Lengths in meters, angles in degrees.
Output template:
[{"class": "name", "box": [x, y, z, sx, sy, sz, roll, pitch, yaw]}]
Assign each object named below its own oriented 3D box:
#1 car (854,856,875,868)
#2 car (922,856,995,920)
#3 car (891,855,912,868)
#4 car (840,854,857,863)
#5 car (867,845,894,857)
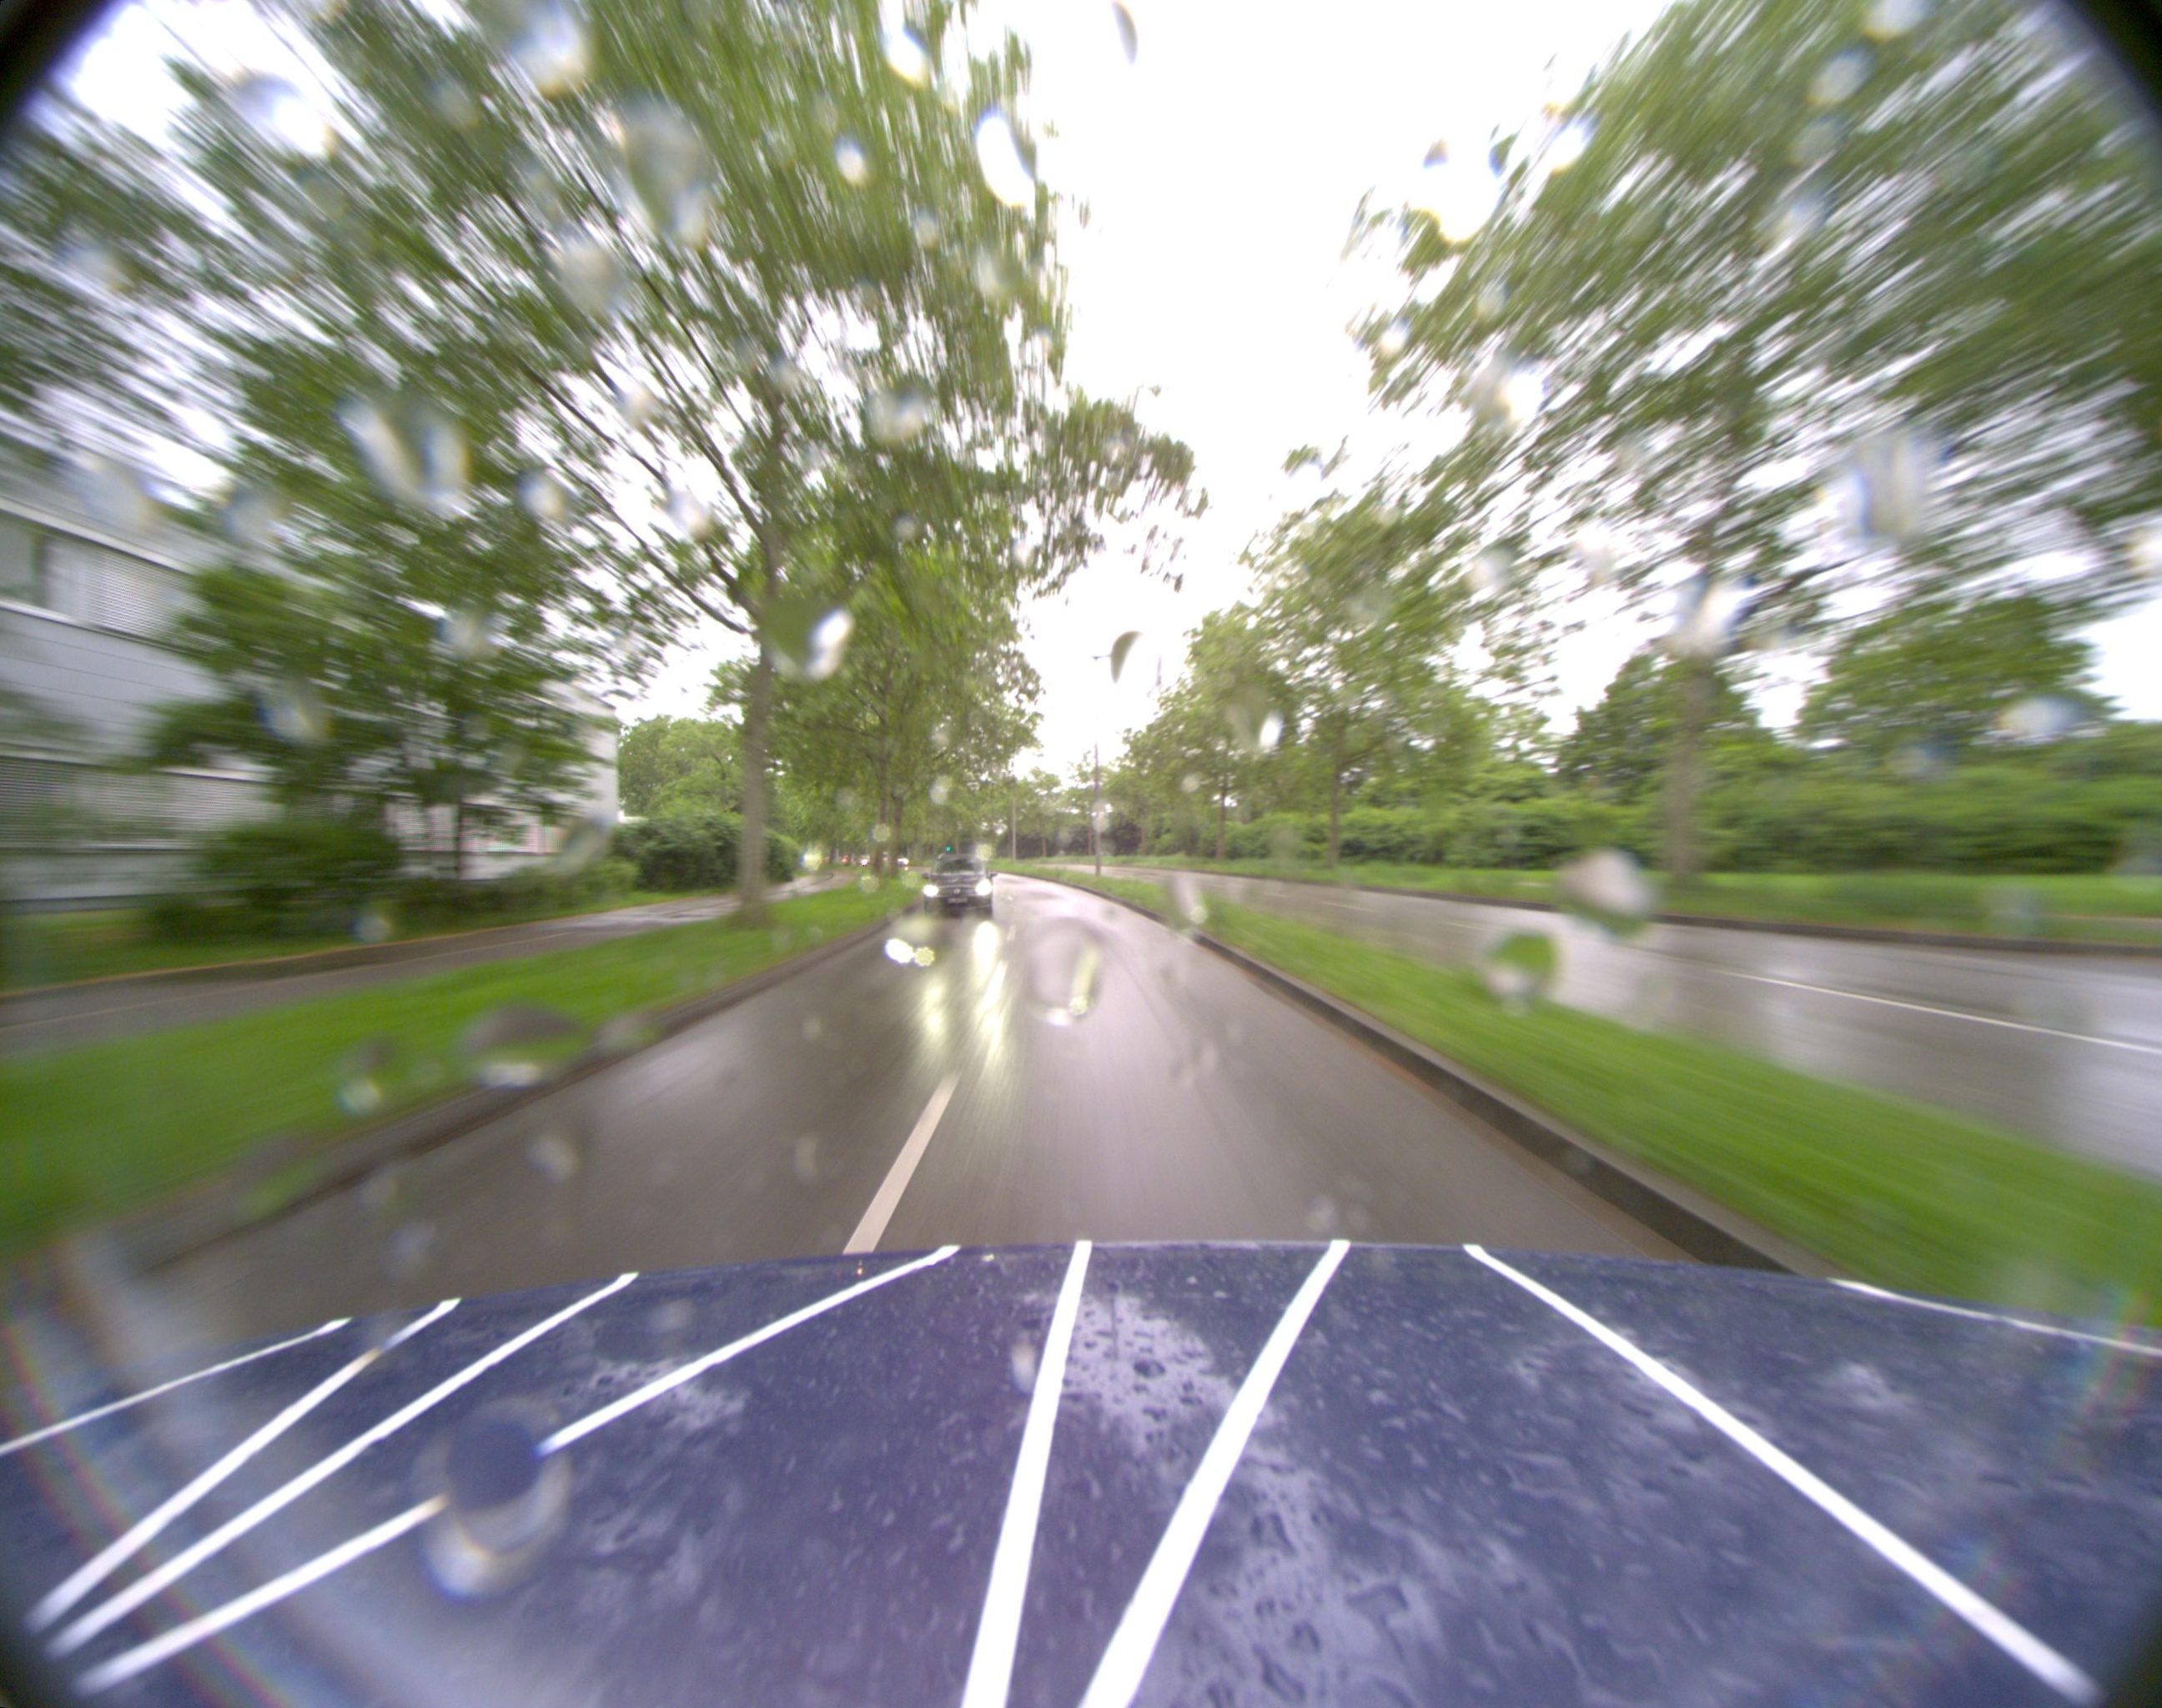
[{"class": "car", "box": [-26.870, 0.992, 94.231, 1.787, 1.546, 3.992, -1, 0, -25]}, {"class": "car", "box": [-3.378, 0.881, 21.557, 1.785, 1.546, 3.997, -3, 0, -7]}, {"class": "car", "box": [-22.240, 0.869, 94.058, 1.787, 1.546, 3.992, -1, 0, -23]}, {"class": "car", "box": [-52.704, 1.039, 172.376, 1.944, 1.929, 5.183, -1, 0, -38]}, {"class": "car", "box": [-39.812, -0.601, 150.709, 2.290, 2.412, 6.341, -1, 0, -44]}]
